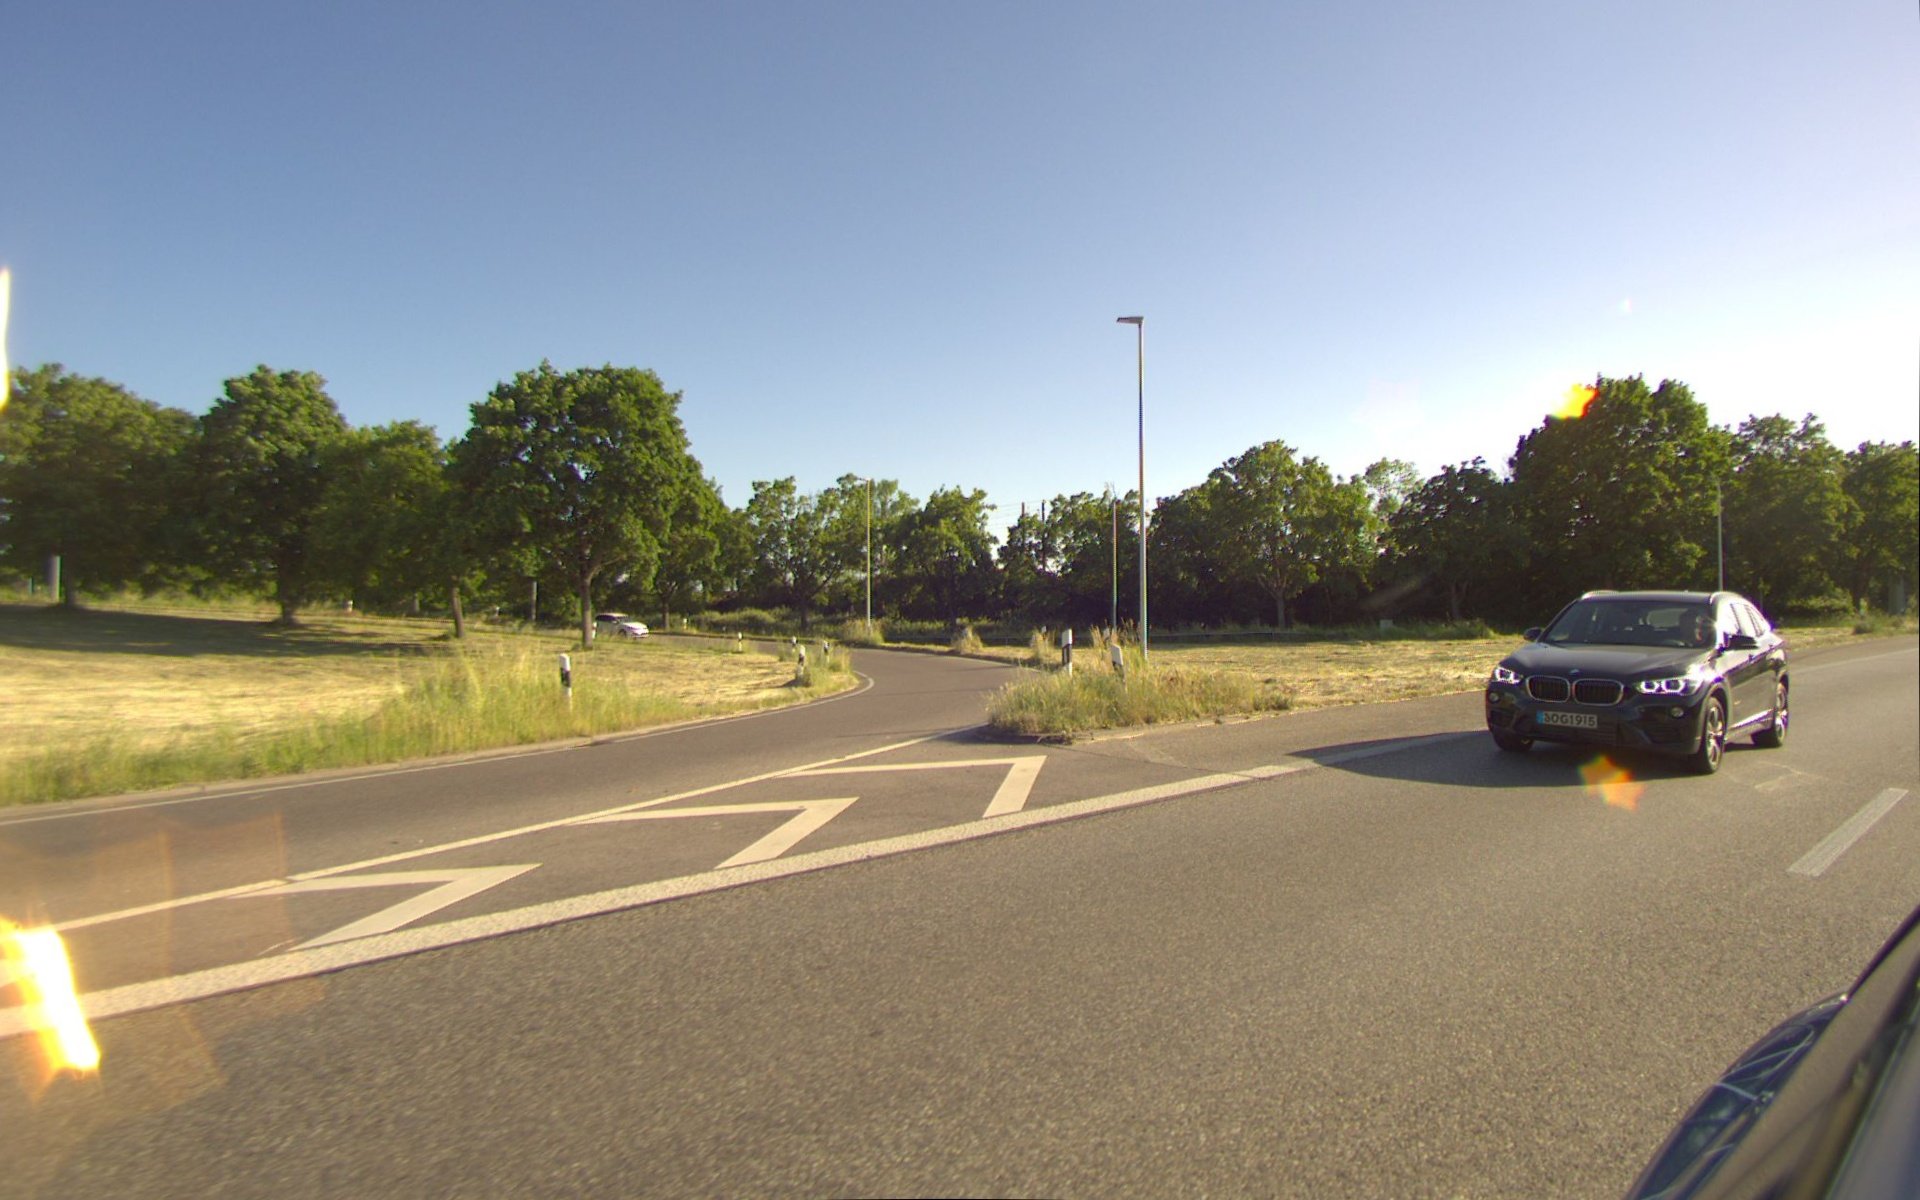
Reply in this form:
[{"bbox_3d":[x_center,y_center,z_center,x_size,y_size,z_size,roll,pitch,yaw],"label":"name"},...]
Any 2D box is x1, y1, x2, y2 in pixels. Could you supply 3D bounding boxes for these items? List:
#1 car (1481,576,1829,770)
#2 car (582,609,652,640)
[{"bbox_3d":[7.276,0.585,10.415,4.439,1.593,1.759,0,1,-39],"label":"car"},{"bbox_3d":[-20.518,1.442,60.526,3.966,1.713,1.849,0,0,30],"label":"car"}]
